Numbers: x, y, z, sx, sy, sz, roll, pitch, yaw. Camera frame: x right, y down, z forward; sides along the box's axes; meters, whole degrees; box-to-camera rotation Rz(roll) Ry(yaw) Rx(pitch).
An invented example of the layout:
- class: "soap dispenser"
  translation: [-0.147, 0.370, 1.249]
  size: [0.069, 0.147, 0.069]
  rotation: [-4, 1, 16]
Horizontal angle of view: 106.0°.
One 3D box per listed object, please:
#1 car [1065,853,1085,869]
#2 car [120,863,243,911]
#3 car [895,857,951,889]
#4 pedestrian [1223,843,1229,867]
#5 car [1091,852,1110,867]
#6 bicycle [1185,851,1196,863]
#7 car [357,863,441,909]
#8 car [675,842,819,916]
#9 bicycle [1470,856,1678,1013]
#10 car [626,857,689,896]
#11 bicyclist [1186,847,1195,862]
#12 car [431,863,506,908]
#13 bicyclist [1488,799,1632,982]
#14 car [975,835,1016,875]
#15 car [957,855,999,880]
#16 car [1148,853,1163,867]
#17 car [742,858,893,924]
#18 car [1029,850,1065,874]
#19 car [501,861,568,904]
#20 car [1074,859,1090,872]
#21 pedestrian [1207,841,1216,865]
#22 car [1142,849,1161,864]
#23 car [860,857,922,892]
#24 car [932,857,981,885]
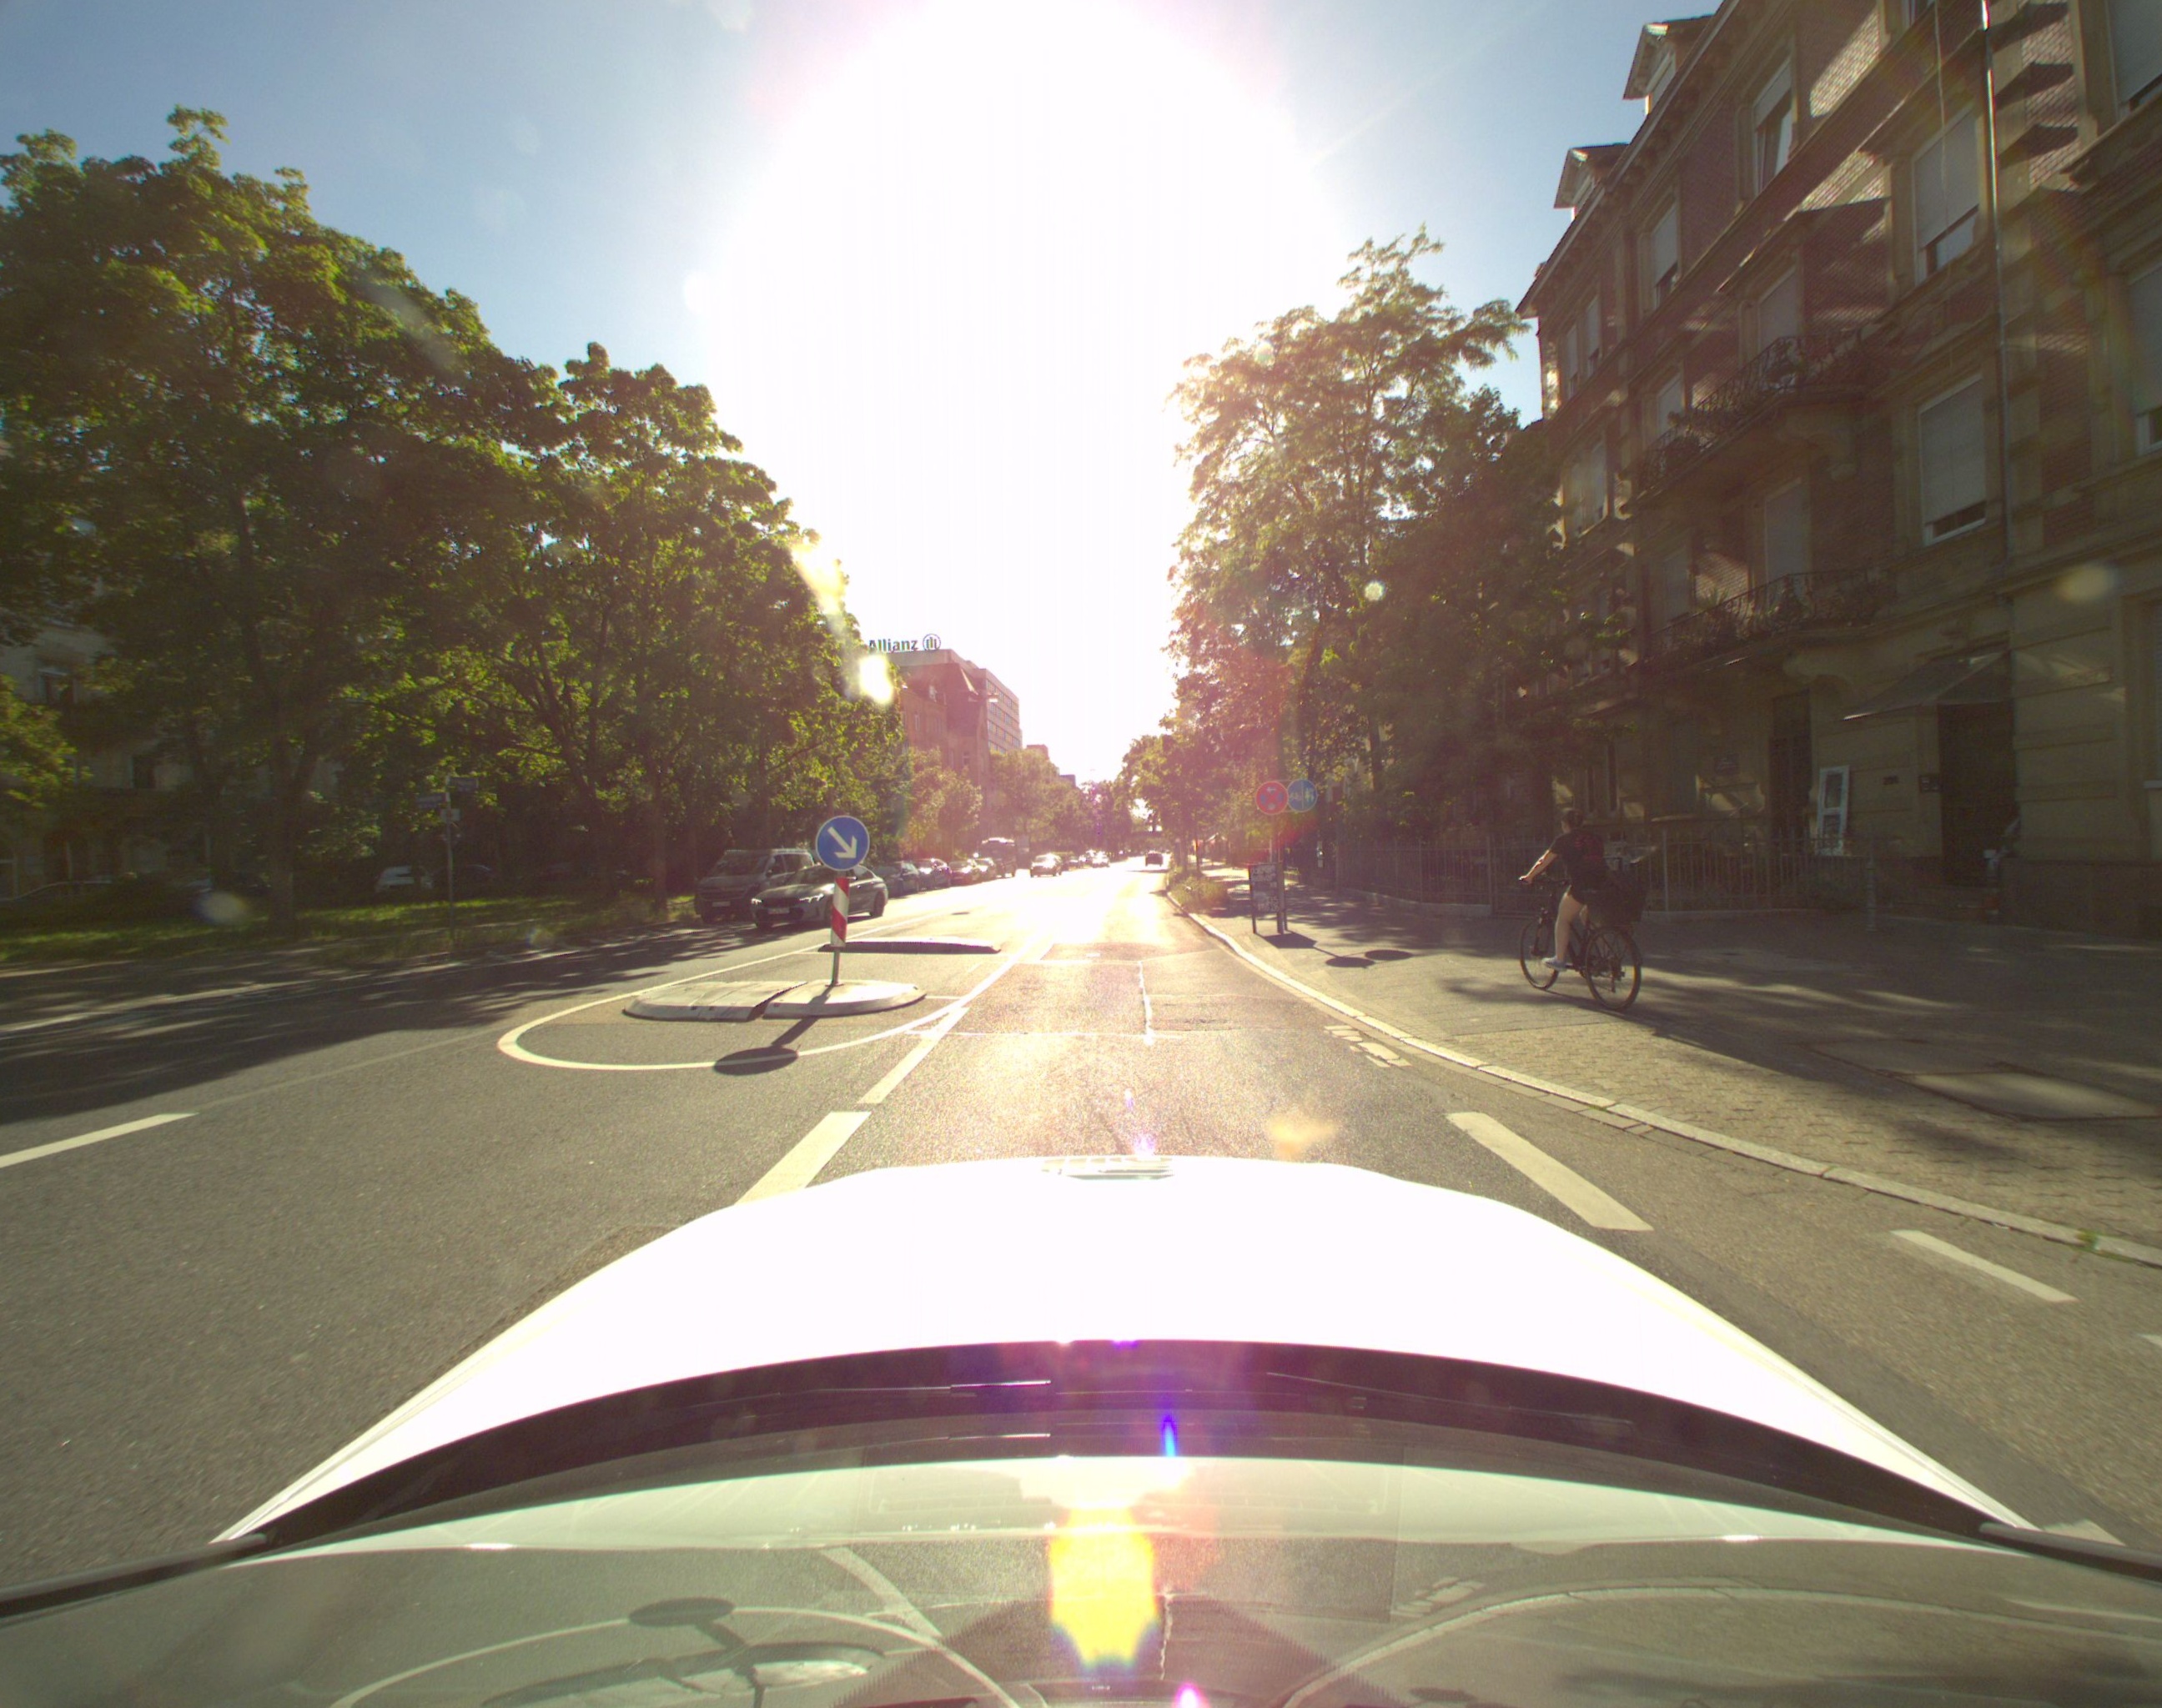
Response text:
- class: "car"
  translation: [-0.608, 0.713, 83.984]
  size: [1.794, 1.504, 3.810]
  rotation: [-2, 0, 3]
- class: "car"
  translation: [-31.499, 1.099, 28.669]
  size: [1.830, 1.499, 3.960]
  rotation: [-2, 0, -32]
- class: "car"
  translation: [-7.812, 0.929, 40.637]
  size: [1.514, 1.432, 3.564]
  rotation: [-2, 0, 10]
- class: "pedestrian"
  translation: [12.479, 0.115, 70.115]
  size: [0.474, 2.014, 0.492]
  rotation: [0, -3, 2]
- class: "car"
  translation: [2.192, 0.619, 90.125]
  size: [1.927, 1.519, 4.032]
  rotation: [0, -3, 2]
- class: "bicycle"
  translation: [9.495, 0.276, 70.568]
  size: [0.672, 0.938, 2.282]
  rotation: [-2, -2, 2]
- class: "car"
  translation: [-27.562, 1.234, 33.050]
  size: [1.988, 1.662, 3.960]
  rotation: [-2, 0, -32]
- class: "car"
  translation: [-9.811, 0.725, 24.439]
  size: [2.191, 1.929, 4.862]
  rotation: [-2, -1, 1]
- class: "bicycle"
  translation: [4.419, 0.651, 7.516]
  size: [0.738, 1.219, 1.961]
  rotation: [-4, 0, 3]
- class: "car"
  translation: [-19.610, 1.005, 37.883]
  size: [1.981, 1.662, 3.974]
  rotation: [-2, 0, -19]
- class: "bicyclist"
  translation: [9.507, 0.053, 70.636]
  size: [0.678, 1.327, 0.636]
  rotation: [0, -3, 1]
- class: "car"
  translation: [-25.287, 1.240, 33.772]
  size: [1.988, 1.662, 3.961]
  rotation: [-2, 0, -30]
- class: "bicyclist"
  translation: [4.435, 0.309, 7.620]
  size: [0.738, 1.580, 1.101]
  rotation: [0, 1, 3]
- class: "car"
  translation: [-5.925, 0.066, 57.042]
  size: [1.818, 2.651, 5.168]
  rotation: [-2, 0, 5]
- class: "car"
  translation: [-6.426, 0.827, 51.273]
  size: [1.818, 1.420, 4.005]
  rotation: [-2, 0, 5]
- class: "car"
  translation: [9.562, 0.731, 104.314]
  size: [1.810, 1.740, 4.006]
  rotation: [-1, 0, 5]
- class: "car"
  translation: [-6.351, 0.859, 20.222]
  size: [1.774, 1.460, 4.425]
  rotation: [-1, -1, 9]
- class: "car"
  translation: [-2.291, 0.484, 55.406]
  size: [1.629, 1.519, 4.040]
  rotation: [-2, 0, 9]
- class: "car"
  translation: [-23.427, 1.187, 35.024]
  size: [1.987, 1.662, 3.963]
  rotation: [-2, 0, -29]
- class: "car"
  translation: [0.168, 1.524, 107.536]
  size: [1.927, 1.519, 4.032]
  rotation: [0, -3, 2]
- class: "pedestrian"
  translation: [11.076, -0.115, 69.100]
  size: [0.612, 2.013, 0.681]
  rotation: [-2, 0, 2]
- class: "car"
  translation: [7.606, 0.243, 88.579]
  size: [1.887, 1.519, 4.003]
  rotation: [1, 1, 2]
- class: "car"
  translation: [-8.250, 0.938, 35.664]
  size: [1.514, 1.433, 3.344]
  rotation: [-1, -3, 9]
- class: "car"
  translation: [-6.962, 0.979, 45.971]
  size: [1.818, 1.420, 4.004]
  rotation: [-1, -3, 5]
